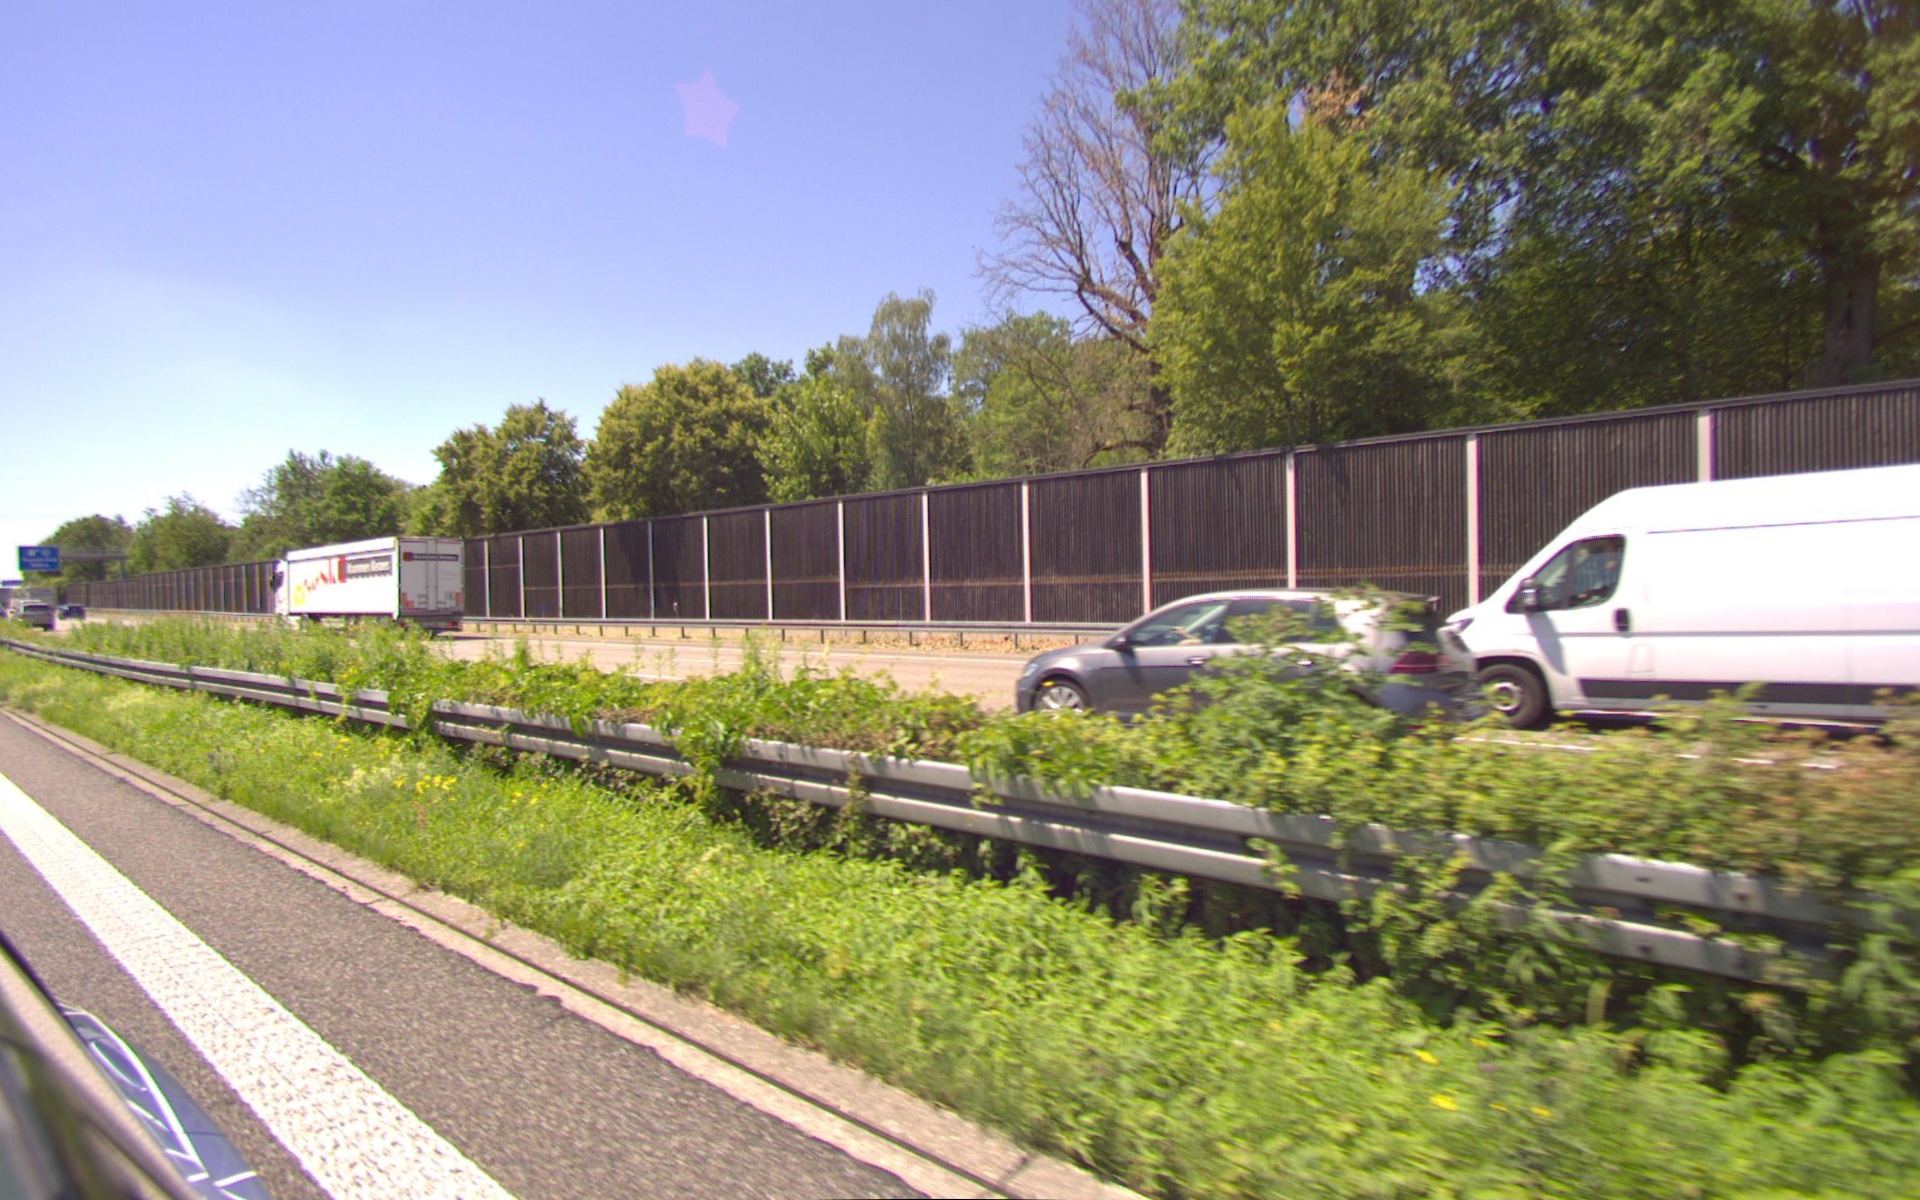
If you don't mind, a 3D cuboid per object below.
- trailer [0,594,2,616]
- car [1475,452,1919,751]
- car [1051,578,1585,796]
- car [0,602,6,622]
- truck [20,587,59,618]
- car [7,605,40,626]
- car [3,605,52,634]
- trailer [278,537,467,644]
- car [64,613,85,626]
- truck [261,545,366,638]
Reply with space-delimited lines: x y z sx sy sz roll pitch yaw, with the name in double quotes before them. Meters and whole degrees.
"trailer" -186.626 0.998 194.809 13.655 4.167 2.457 0 0 43
"car" 8.238 0.009 9.179 6.039 2.420 2.058 -1 0 41
"car" 2.889 0.594 8.638 3.933 1.439 1.742 -1 0 41
"car" -77.695 0.971 80.853 4.359 1.555 1.695 -1 0 41
"truck" -114.799 0.320 126.167 8.743 3.636 2.802 -1 0 42
"car" -89.666 1.438 96.863 4.608 1.960 1.906 -1 0 42
"car" -55.061 1.141 59.734 4.037 1.664 1.748 -1 0 41
"trailer" -26.217 -0.360 44.557 14.382 4.105 2.726 0 0 41
"car" -89.313 1.915 102.069 3.027 1.264 1.266 -1 0 42
"truck" -31.478 -0.378 49.177 6.033 4.224 2.702 0 0 41
